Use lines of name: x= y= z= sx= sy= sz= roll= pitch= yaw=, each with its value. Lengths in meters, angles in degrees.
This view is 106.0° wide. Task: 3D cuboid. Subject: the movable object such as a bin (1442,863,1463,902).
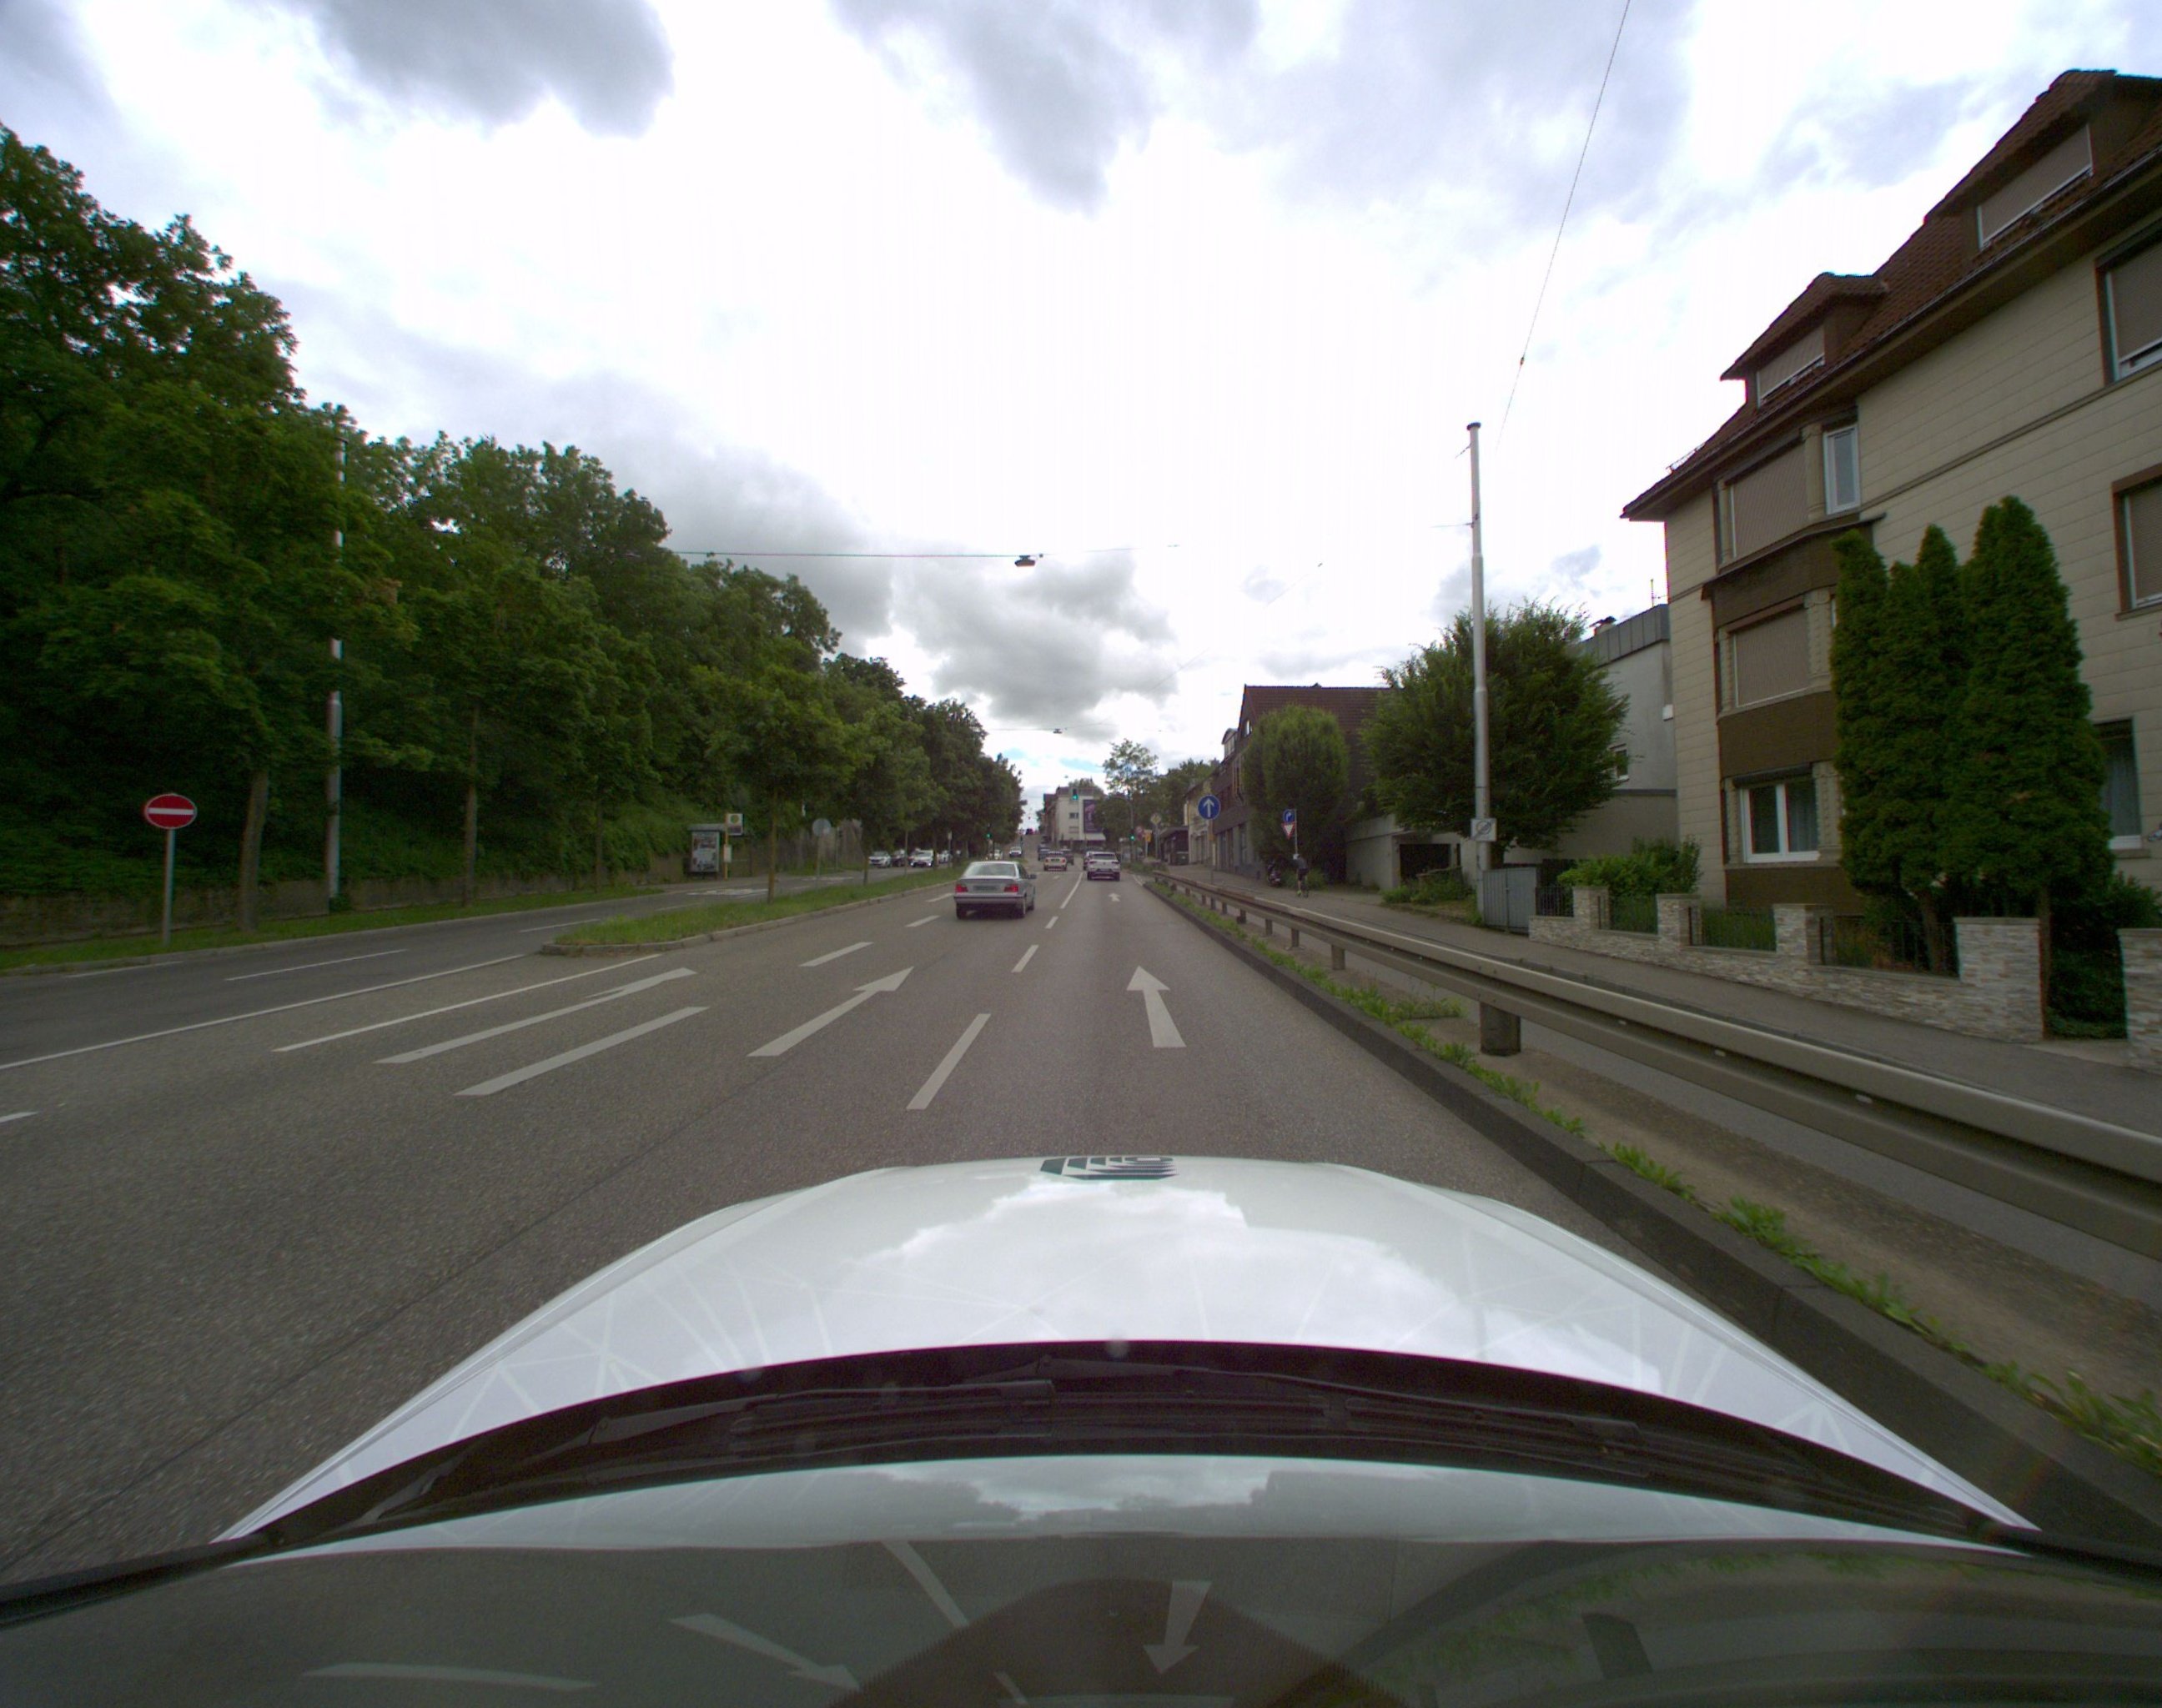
movable object such as a bin: x=13.541 y=1.030 z=29.679 sx=0.492 sy=1.363 sz=0.538 roll=1 pitch=1 yaw=1

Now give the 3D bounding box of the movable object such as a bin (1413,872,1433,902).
movable object such as a bin: x=12.430 y=1.187 z=29.589 sx=0.492 sy=1.057 sz=0.538 roll=1 pitch=1 yaw=1

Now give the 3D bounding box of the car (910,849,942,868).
car: x=-14.261 y=0.373 z=75.137 sx=1.852 sy=1.670 sz=4.283 roll=1 pitch=1 yaw=3

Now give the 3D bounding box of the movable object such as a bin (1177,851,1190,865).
movable object such as a bin: x=10.407 y=0.374 z=82.867 sx=1.191 sy=1.408 sz=0.711 roll=1 pitch=1 yaw=0

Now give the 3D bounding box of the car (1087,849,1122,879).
car: x=1.261 y=0.555 z=45.290 sx=1.791 sy=1.519 sz=3.457 roll=-3 pitch=0 yaw=1

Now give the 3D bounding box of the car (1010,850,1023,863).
car: x=-10.188 y=0.418 z=129.040 sx=1.663 sy=1.865 sz=3.244 roll=-2 pitch=1 yaw=0

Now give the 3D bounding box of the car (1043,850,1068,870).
car: x=-1.885 y=0.431 z=61.489 sx=1.718 sy=1.376 sz=3.455 roll=-3 pitch=0 yaw=-1

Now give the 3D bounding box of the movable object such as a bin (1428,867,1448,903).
movable object such as a bin: x=12.952 y=1.122 z=29.551 sx=0.492 sy=1.272 sz=0.538 roll=1 pitch=1 yaw=1

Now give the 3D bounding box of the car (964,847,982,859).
car: x=-14.201 y=-0.150 z=107.556 sx=1.855 sy=1.541 sz=4.277 roll=1 pitch=1 yaw=-1

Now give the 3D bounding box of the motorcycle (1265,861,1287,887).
motorcycle: x=9.590 y=0.973 z=40.153 sx=0.606 sy=1.162 sz=2.041 roll=-2 pitch=1 yaw=2

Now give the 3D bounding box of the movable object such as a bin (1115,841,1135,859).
movable object such as a bin: x=4.661 y=-0.428 z=85.948 sx=1.890 sy=1.870 sz=1.524 roll=1 pitch=1 yaw=-8

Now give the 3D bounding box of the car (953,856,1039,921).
car: x=-2.055 y=0.793 z=20.864 sx=1.629 sy=1.382 sz=4.621 roll=1 pitch=1 yaw=1

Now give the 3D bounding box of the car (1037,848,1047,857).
car: x=-7.388 y=-0.275 z=154.528 sx=1.718 sy=1.583 sz=3.454 roll=-3 pitch=0 yaw=-2

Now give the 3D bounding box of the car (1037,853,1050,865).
car: x=-5.255 y=0.694 z=115.213 sx=1.718 sy=1.583 sz=3.454 roll=-3 pitch=0 yaw=-2

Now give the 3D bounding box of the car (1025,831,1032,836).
car: x=-15.528 y=-6.126 z=240.807 sx=1.819 sy=1.508 sz=3.996 roll=1 pitch=1 yaw=-3

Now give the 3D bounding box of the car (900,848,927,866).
car: x=-16.825 y=0.263 z=82.065 sx=1.855 sy=1.670 sz=4.277 roll=1 pitch=1 yaw=-1

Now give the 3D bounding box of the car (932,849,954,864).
car: x=-15.962 y=0.312 z=94.236 sx=1.855 sy=1.593 sz=4.277 roll=1 pitch=1 yaw=-1

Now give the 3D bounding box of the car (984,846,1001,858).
car: x=-11.706 y=-0.265 z=108.006 sx=1.855 sy=1.541 sz=4.277 roll=1 pitch=1 yaw=-1

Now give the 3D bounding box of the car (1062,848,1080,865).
car: x=-1.088 y=0.248 z=85.724 sx=1.718 sy=1.640 sz=3.454 roll=-3 pitch=0 yaw=-2

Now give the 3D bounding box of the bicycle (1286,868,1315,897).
bicycle: x=9.091 y=1.163 z=33.732 sx=0.565 sy=1.063 sz=2.004 roll=-3 pitch=1 yaw=-1

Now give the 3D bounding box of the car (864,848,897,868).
car: x=-17.649 y=0.356 z=71.818 sx=1.855 sy=1.670 sz=4.277 roll=1 pitch=1 yaw=-1

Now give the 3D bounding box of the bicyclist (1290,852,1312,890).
bicyclist: x=9.080 y=0.696 z=33.608 sx=0.565 sy=1.525 sz=0.959 roll=-3 pitch=1 yaw=-1

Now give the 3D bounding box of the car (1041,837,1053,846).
car: x=-7.957 y=-2.994 z=189.680 sx=2.501 sy=2.013 sz=5.183 roll=1 pitch=1 yaw=1

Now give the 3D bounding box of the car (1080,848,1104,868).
car: x=0.852 y=0.325 z=63.316 sx=1.717 sy=1.376 sz=3.455 roll=-3 pitch=0 yaw=-1
